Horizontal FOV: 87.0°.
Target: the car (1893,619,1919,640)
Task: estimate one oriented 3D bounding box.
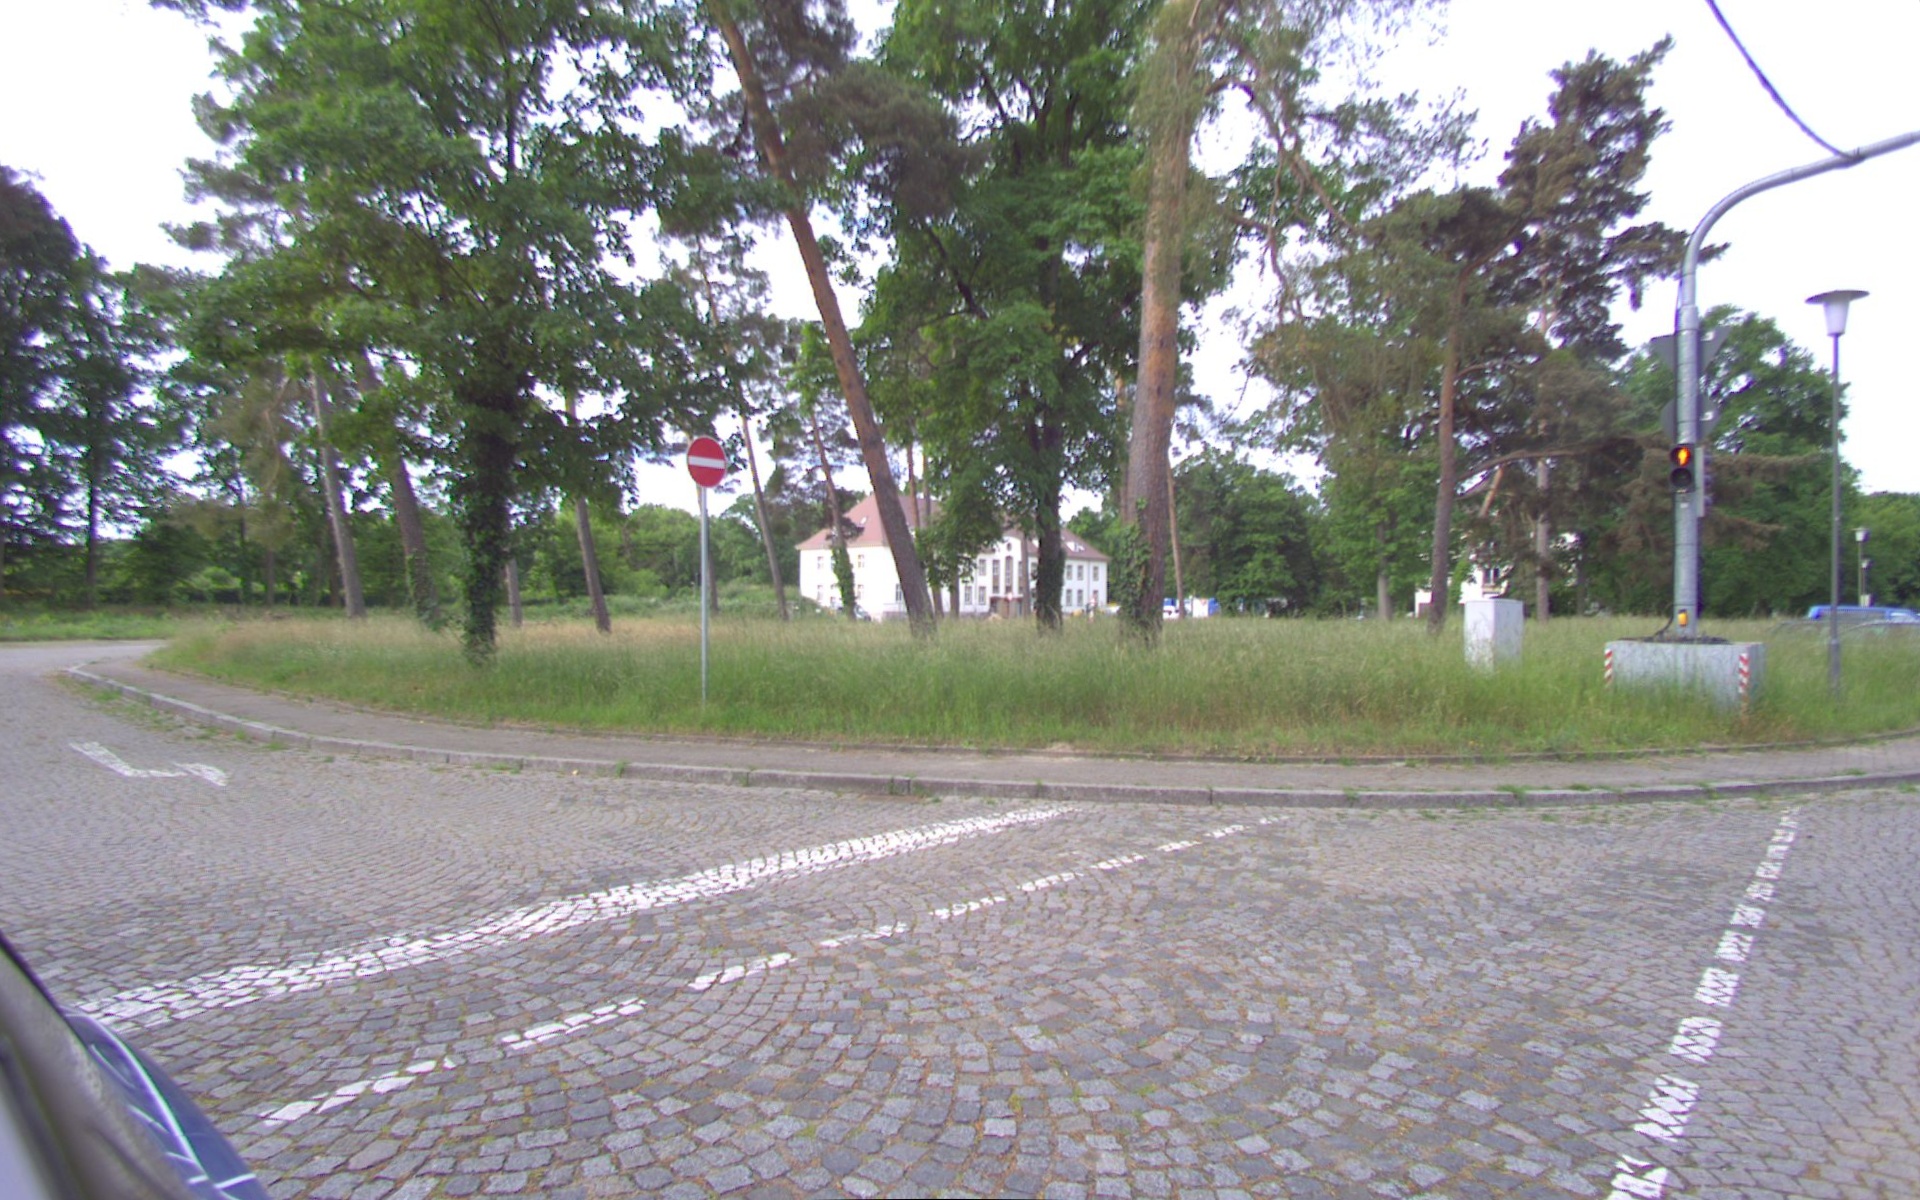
[{"bbox_3d":[91.903,2.803,95.821,5.162,2.029,1.972,0,-1,42],"label":"car"}]

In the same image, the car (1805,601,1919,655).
[{"bbox_3d":[35.440,1.068,38.621,4.793,1.996,1.970,-1,-2,43],"label":"car"}]

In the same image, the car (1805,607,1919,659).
[{"bbox_3d":[31.824,1.140,34.900,4.002,1.727,1.666,-2,-2,45],"label":"car"}]

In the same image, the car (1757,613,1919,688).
[{"bbox_3d":[19.509,1.041,21.476,3.999,1.483,1.667,0,-1,42],"label":"car"}]
